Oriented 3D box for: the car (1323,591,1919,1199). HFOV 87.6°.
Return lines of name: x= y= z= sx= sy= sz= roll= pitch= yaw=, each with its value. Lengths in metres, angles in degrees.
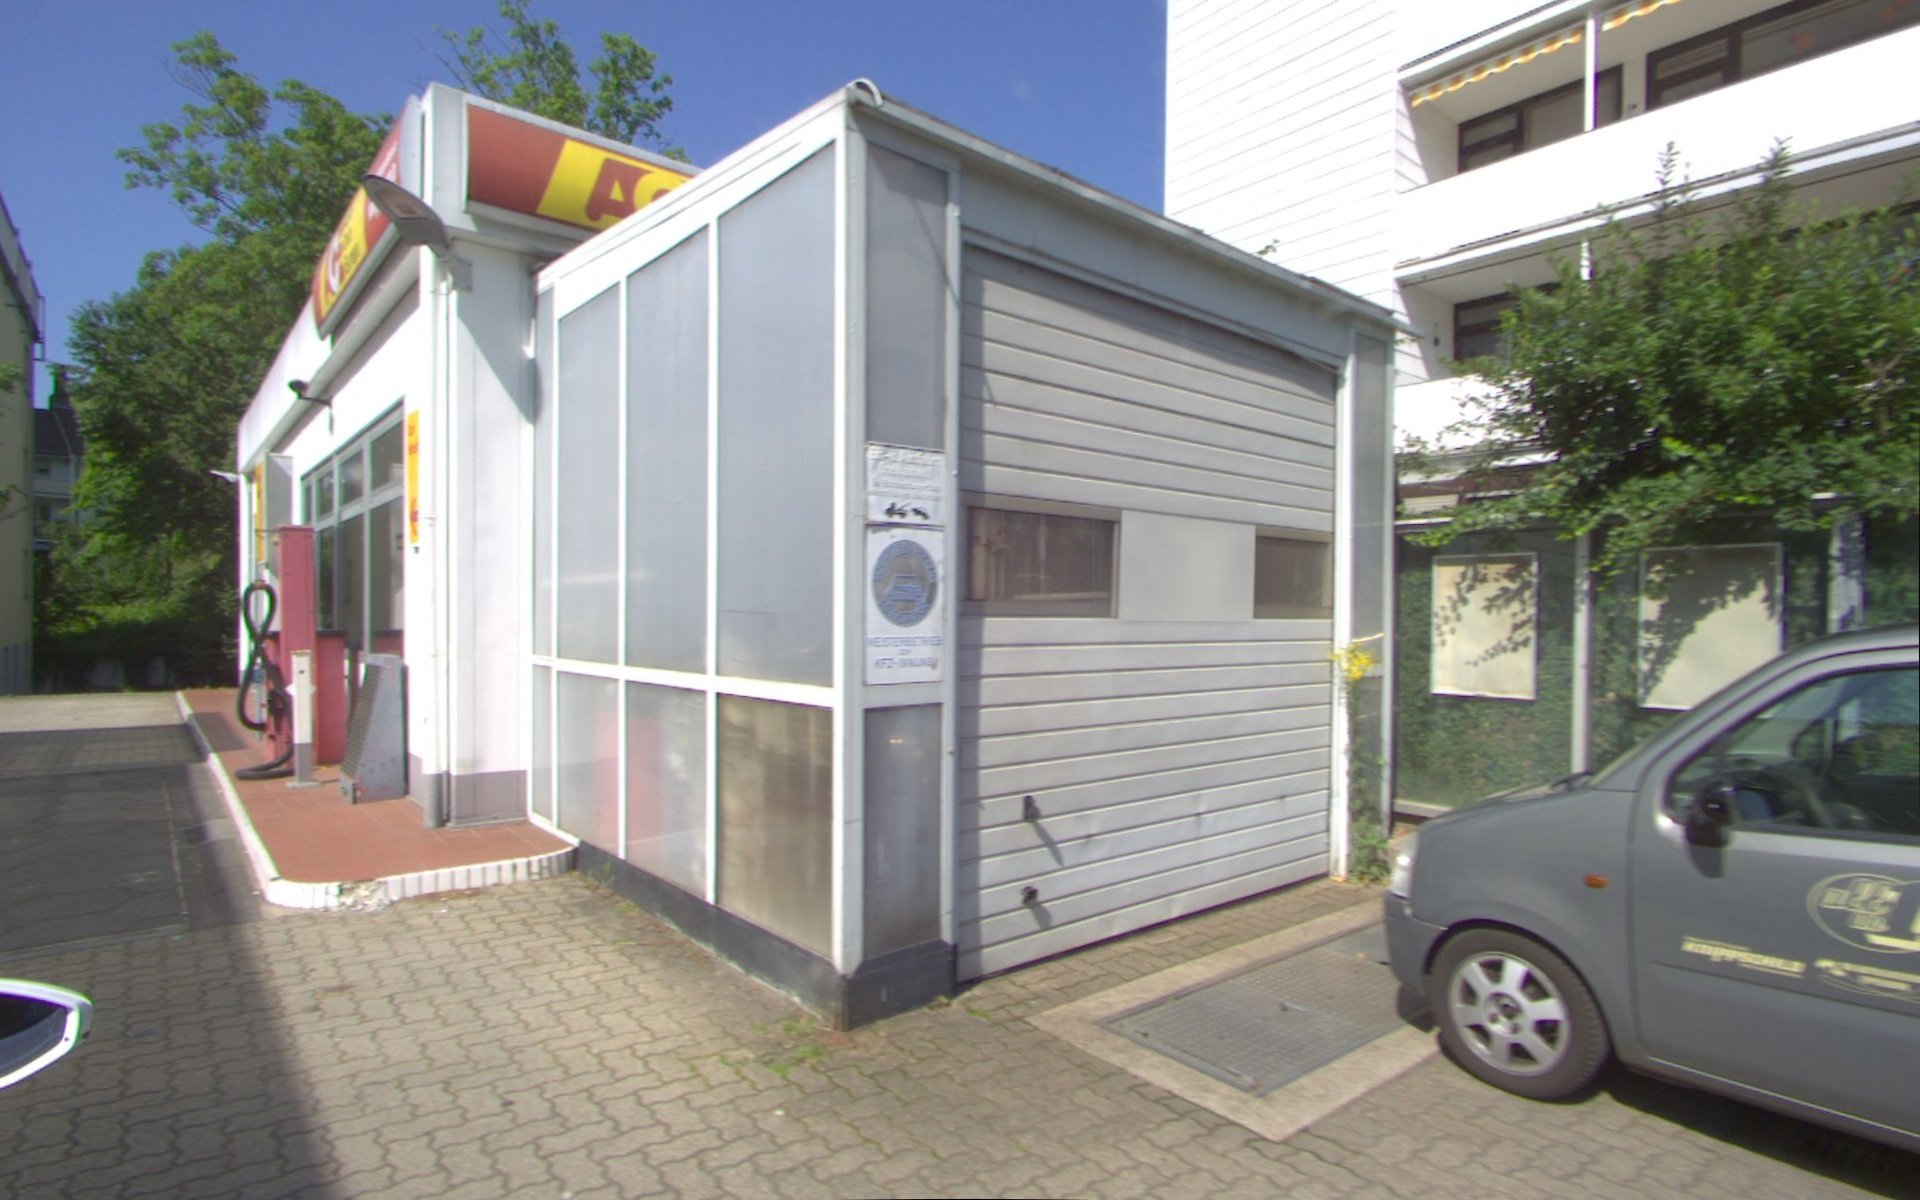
car: x=3.141 y=0.806 z=2.887 sx=1.672 sy=1.638 sz=3.636 roll=1 pitch=-2 yaw=-37
